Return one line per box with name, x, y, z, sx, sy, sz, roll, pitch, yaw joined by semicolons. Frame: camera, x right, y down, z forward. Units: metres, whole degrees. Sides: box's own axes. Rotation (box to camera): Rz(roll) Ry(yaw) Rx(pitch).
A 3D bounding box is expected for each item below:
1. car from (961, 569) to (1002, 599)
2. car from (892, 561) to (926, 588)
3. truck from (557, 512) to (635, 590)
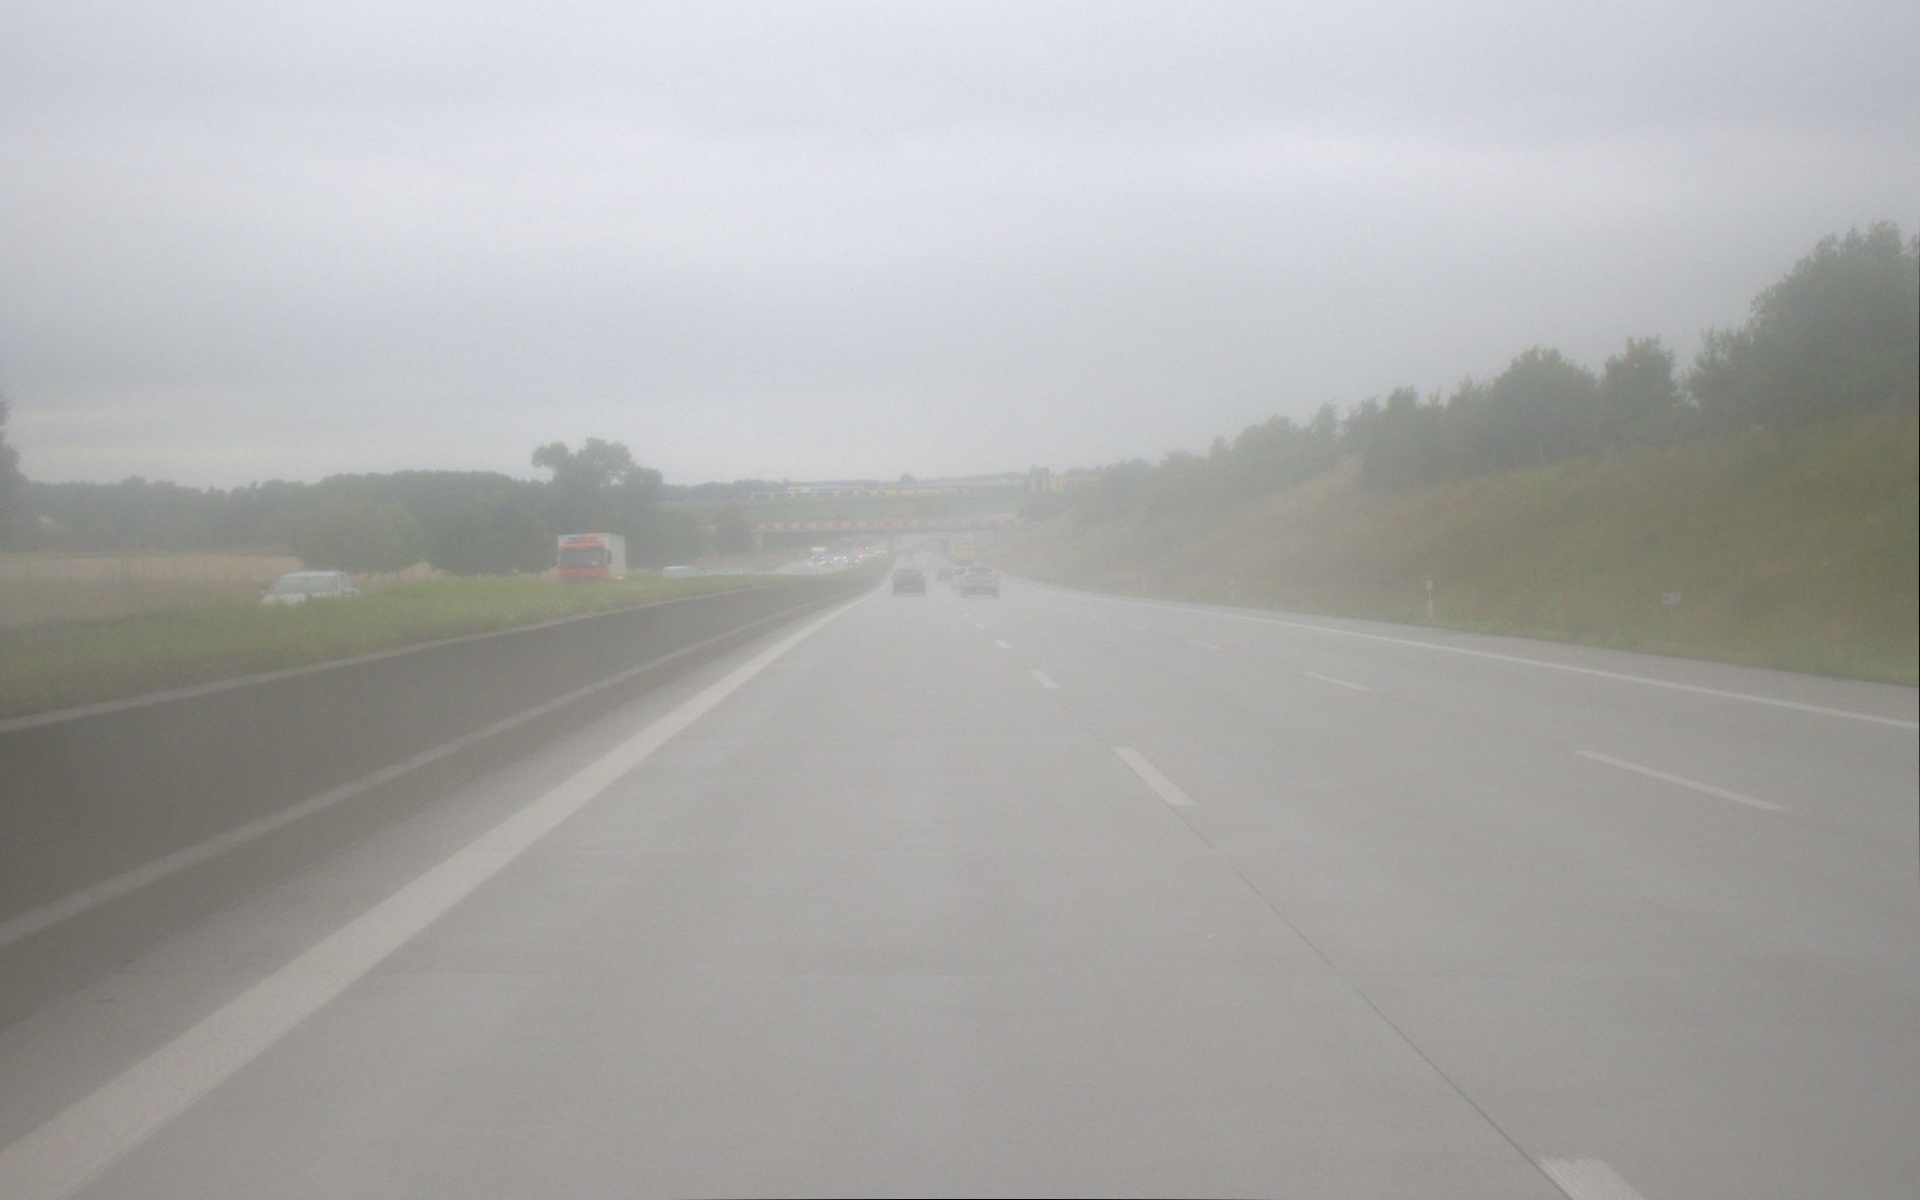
car;1.042;-0.811;169.886;1.847;1.326;4.430;0;2;-2
car;-2.716;-1.380;183.396;1.729;1.326;4.430;0;2;0
truck;-18.876;-2.629;179.059;2.903;3.842;12.451;-1;2;-1
